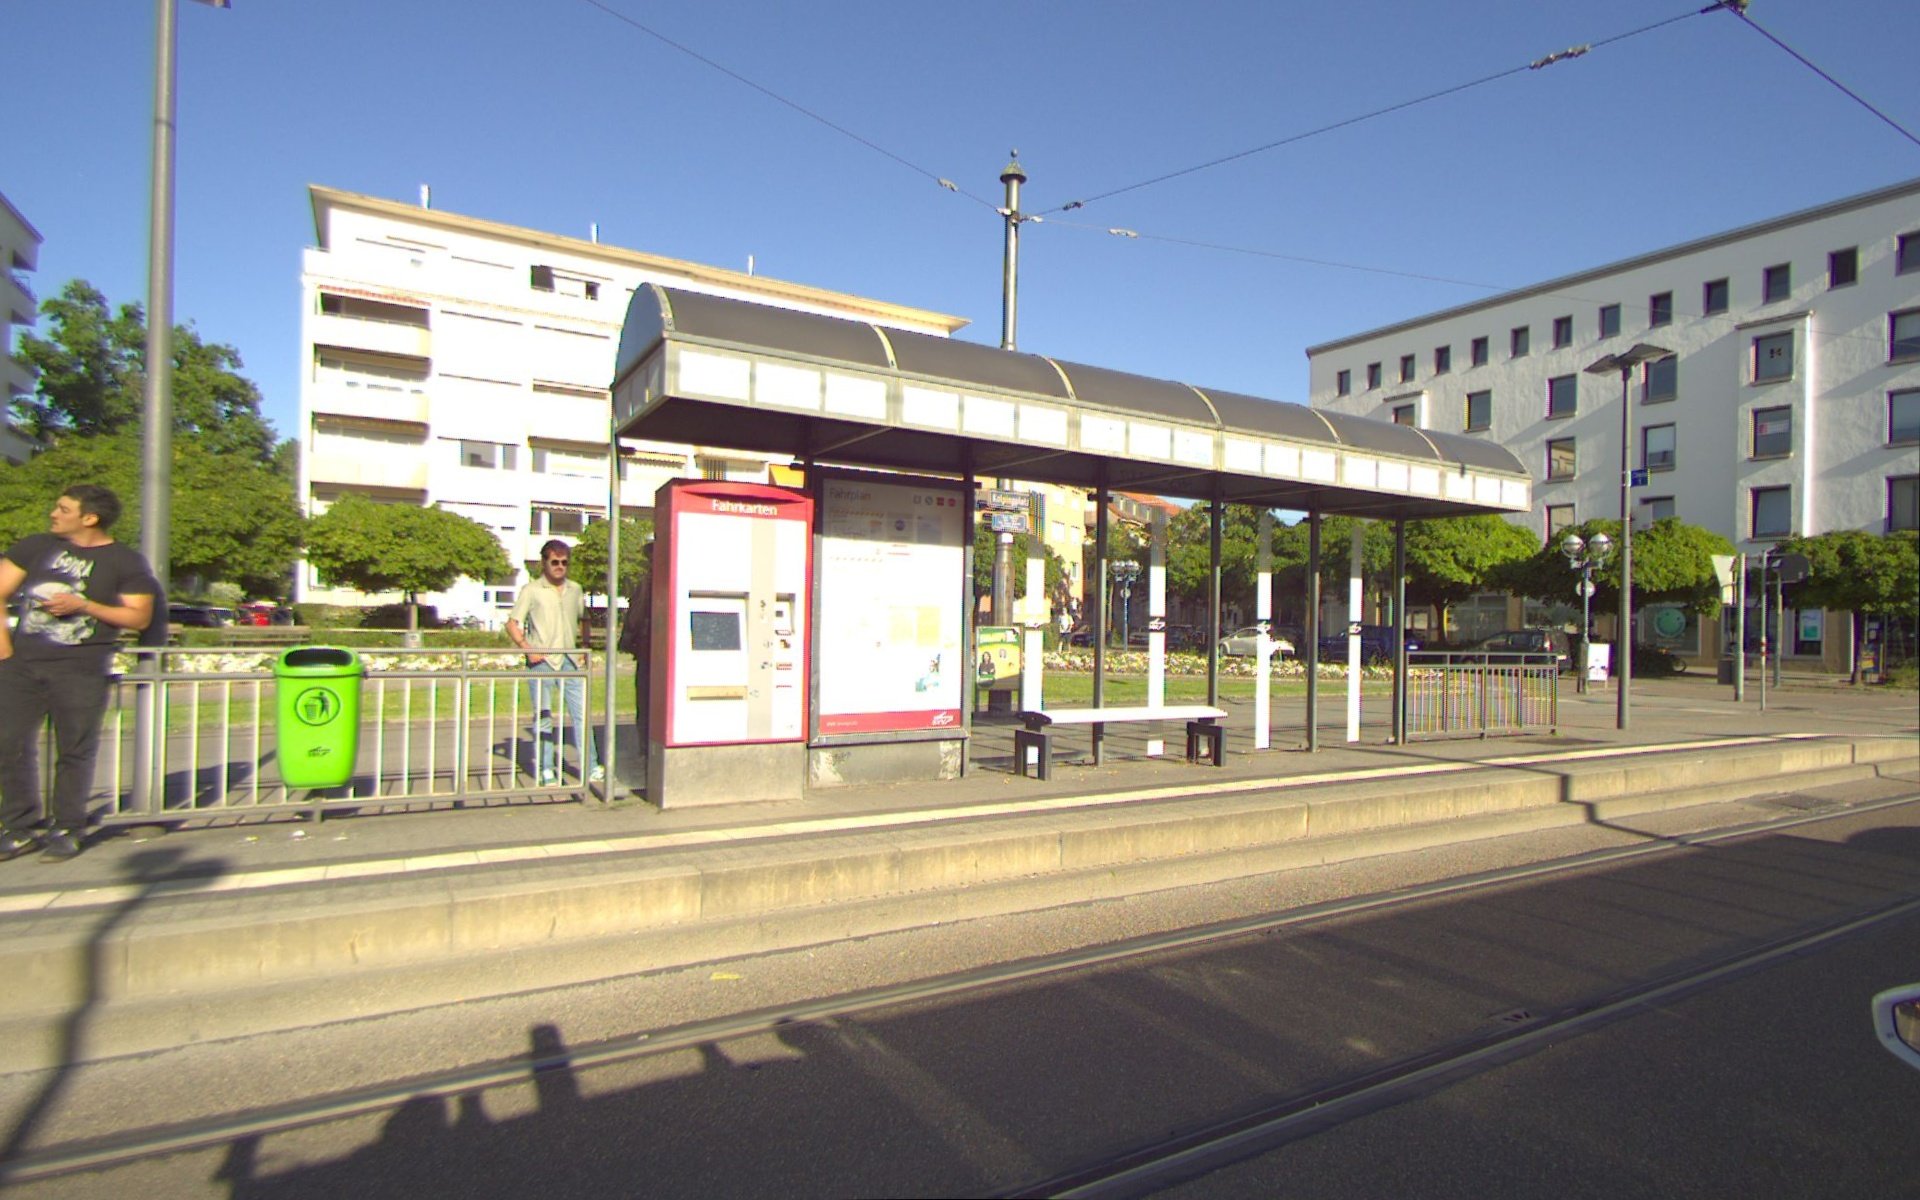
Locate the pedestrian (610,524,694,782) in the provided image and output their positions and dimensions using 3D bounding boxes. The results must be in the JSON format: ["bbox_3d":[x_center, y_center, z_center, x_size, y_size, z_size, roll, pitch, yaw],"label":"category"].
[{"bbox_3d":[-2.346,0.399,7.646,0.519,1.883,0.426,2,-3,-27],"label":"pedestrian"}]

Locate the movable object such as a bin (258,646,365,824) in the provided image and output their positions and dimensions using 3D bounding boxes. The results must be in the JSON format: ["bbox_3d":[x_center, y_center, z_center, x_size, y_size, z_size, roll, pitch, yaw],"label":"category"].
[{"bbox_3d":[-3.360,0.681,5.226,0.411,0.871,0.335,2,-1,-27],"label":"movable object such as a bin"}]

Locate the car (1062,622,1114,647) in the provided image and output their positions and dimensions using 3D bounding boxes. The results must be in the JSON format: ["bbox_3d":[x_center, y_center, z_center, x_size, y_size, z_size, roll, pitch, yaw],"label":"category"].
[{"bbox_3d":[8.561,2.295,66.892,1.887,1.514,4.343,2,-1,31],"label":"car"}]

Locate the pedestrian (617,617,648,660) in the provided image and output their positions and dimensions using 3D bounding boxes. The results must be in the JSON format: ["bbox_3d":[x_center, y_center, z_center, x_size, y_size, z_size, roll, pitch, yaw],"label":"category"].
[{"bbox_3d":[-10.856,1.262,33.260,0.673,1.378,1.042,2,-1,-34],"label":"pedestrian"}]

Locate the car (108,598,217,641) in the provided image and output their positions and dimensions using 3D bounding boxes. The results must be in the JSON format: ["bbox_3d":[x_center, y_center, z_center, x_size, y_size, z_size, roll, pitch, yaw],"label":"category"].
[{"bbox_3d":[-29.158,0.719,36.810,2.899,1.505,1.407,2,-1,-30],"label":"car"}]

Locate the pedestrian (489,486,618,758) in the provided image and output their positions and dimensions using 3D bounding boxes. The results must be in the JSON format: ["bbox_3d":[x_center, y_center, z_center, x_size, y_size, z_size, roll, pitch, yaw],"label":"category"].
[{"bbox_3d":[-2.877,0.167,7.095,0.760,1.797,0.613,2,-3,-28],"label":"pedestrian"}]

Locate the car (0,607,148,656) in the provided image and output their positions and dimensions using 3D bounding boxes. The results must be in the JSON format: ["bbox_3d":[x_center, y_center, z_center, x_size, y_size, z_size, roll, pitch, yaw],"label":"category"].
[{"bbox_3d":[-25.889,0.898,28.844,3.672,1.318,1.984,2,-1,-30],"label":"car"}]

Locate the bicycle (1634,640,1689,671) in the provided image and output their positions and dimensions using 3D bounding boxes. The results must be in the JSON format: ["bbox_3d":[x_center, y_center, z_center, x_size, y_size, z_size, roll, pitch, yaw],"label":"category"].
[{"bbox_3d":[27.608,2.186,39.524,2.586,1.206,0.615,2,-1,-27],"label":"bicycle"}]

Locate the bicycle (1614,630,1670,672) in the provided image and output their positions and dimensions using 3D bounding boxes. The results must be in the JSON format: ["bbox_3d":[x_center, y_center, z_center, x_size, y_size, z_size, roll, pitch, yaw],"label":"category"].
[{"bbox_3d":[27.283,2.036,40.169,2.585,1.628,0.616,2,-1,-26],"label":"bicycle"}]

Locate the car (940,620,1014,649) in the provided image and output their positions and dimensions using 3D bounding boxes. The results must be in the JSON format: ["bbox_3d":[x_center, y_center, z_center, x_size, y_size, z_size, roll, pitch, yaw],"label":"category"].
[{"bbox_3d":[0.857,1.703,49.553,3.271,1.372,1.638,2,-1,-29],"label":"car"}]

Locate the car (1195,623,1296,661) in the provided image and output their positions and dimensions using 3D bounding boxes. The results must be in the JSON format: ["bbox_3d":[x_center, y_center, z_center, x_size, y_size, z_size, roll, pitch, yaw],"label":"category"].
[{"bbox_3d":[13.434,1.960,47.541,1.835,1.628,4.581,2,-1,-31],"label":"car"}]

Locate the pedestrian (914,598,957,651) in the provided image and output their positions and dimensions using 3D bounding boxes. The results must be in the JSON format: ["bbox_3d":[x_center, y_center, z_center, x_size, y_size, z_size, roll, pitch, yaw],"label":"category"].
[{"bbox_3d":[-0.954,0.961,39.223,1.219,2.040,1.214,2,-1,-30],"label":"pedestrian"}]

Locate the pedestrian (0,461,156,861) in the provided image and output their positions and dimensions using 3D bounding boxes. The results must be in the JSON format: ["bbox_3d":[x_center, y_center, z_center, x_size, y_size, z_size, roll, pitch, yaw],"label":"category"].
[{"bbox_3d":[-4.222,0.277,4.667,0.599,1.740,0.546,2,-3,-28],"label":"pedestrian"}]

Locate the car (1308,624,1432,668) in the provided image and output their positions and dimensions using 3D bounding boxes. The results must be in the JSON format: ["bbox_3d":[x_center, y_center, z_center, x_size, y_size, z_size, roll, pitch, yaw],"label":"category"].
[{"bbox_3d":[17.265,1.910,42.494,1.978,1.684,4.581,2,-1,-31],"label":"car"}]

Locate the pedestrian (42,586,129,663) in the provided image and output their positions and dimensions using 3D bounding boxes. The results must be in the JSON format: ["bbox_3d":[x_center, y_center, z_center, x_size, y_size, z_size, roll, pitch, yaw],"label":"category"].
[{"bbox_3d":[-21.434,0.597,24.644,1.155,1.811,1.081,1,-1,-6],"label":"pedestrian"}]

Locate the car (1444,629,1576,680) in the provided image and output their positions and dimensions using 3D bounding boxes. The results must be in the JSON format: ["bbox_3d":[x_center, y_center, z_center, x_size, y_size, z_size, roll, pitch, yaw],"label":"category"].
[{"bbox_3d":[20.466,1.981,37.504,1.804,1.728,3.968,2,-1,-30],"label":"car"}]

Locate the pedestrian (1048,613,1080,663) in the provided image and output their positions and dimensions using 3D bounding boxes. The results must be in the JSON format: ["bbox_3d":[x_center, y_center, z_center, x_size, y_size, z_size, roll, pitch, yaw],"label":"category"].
[{"bbox_3d":[3.887,1.414,37.729,0.856,1.841,0.944,2,-1,-19],"label":"pedestrian"}]
